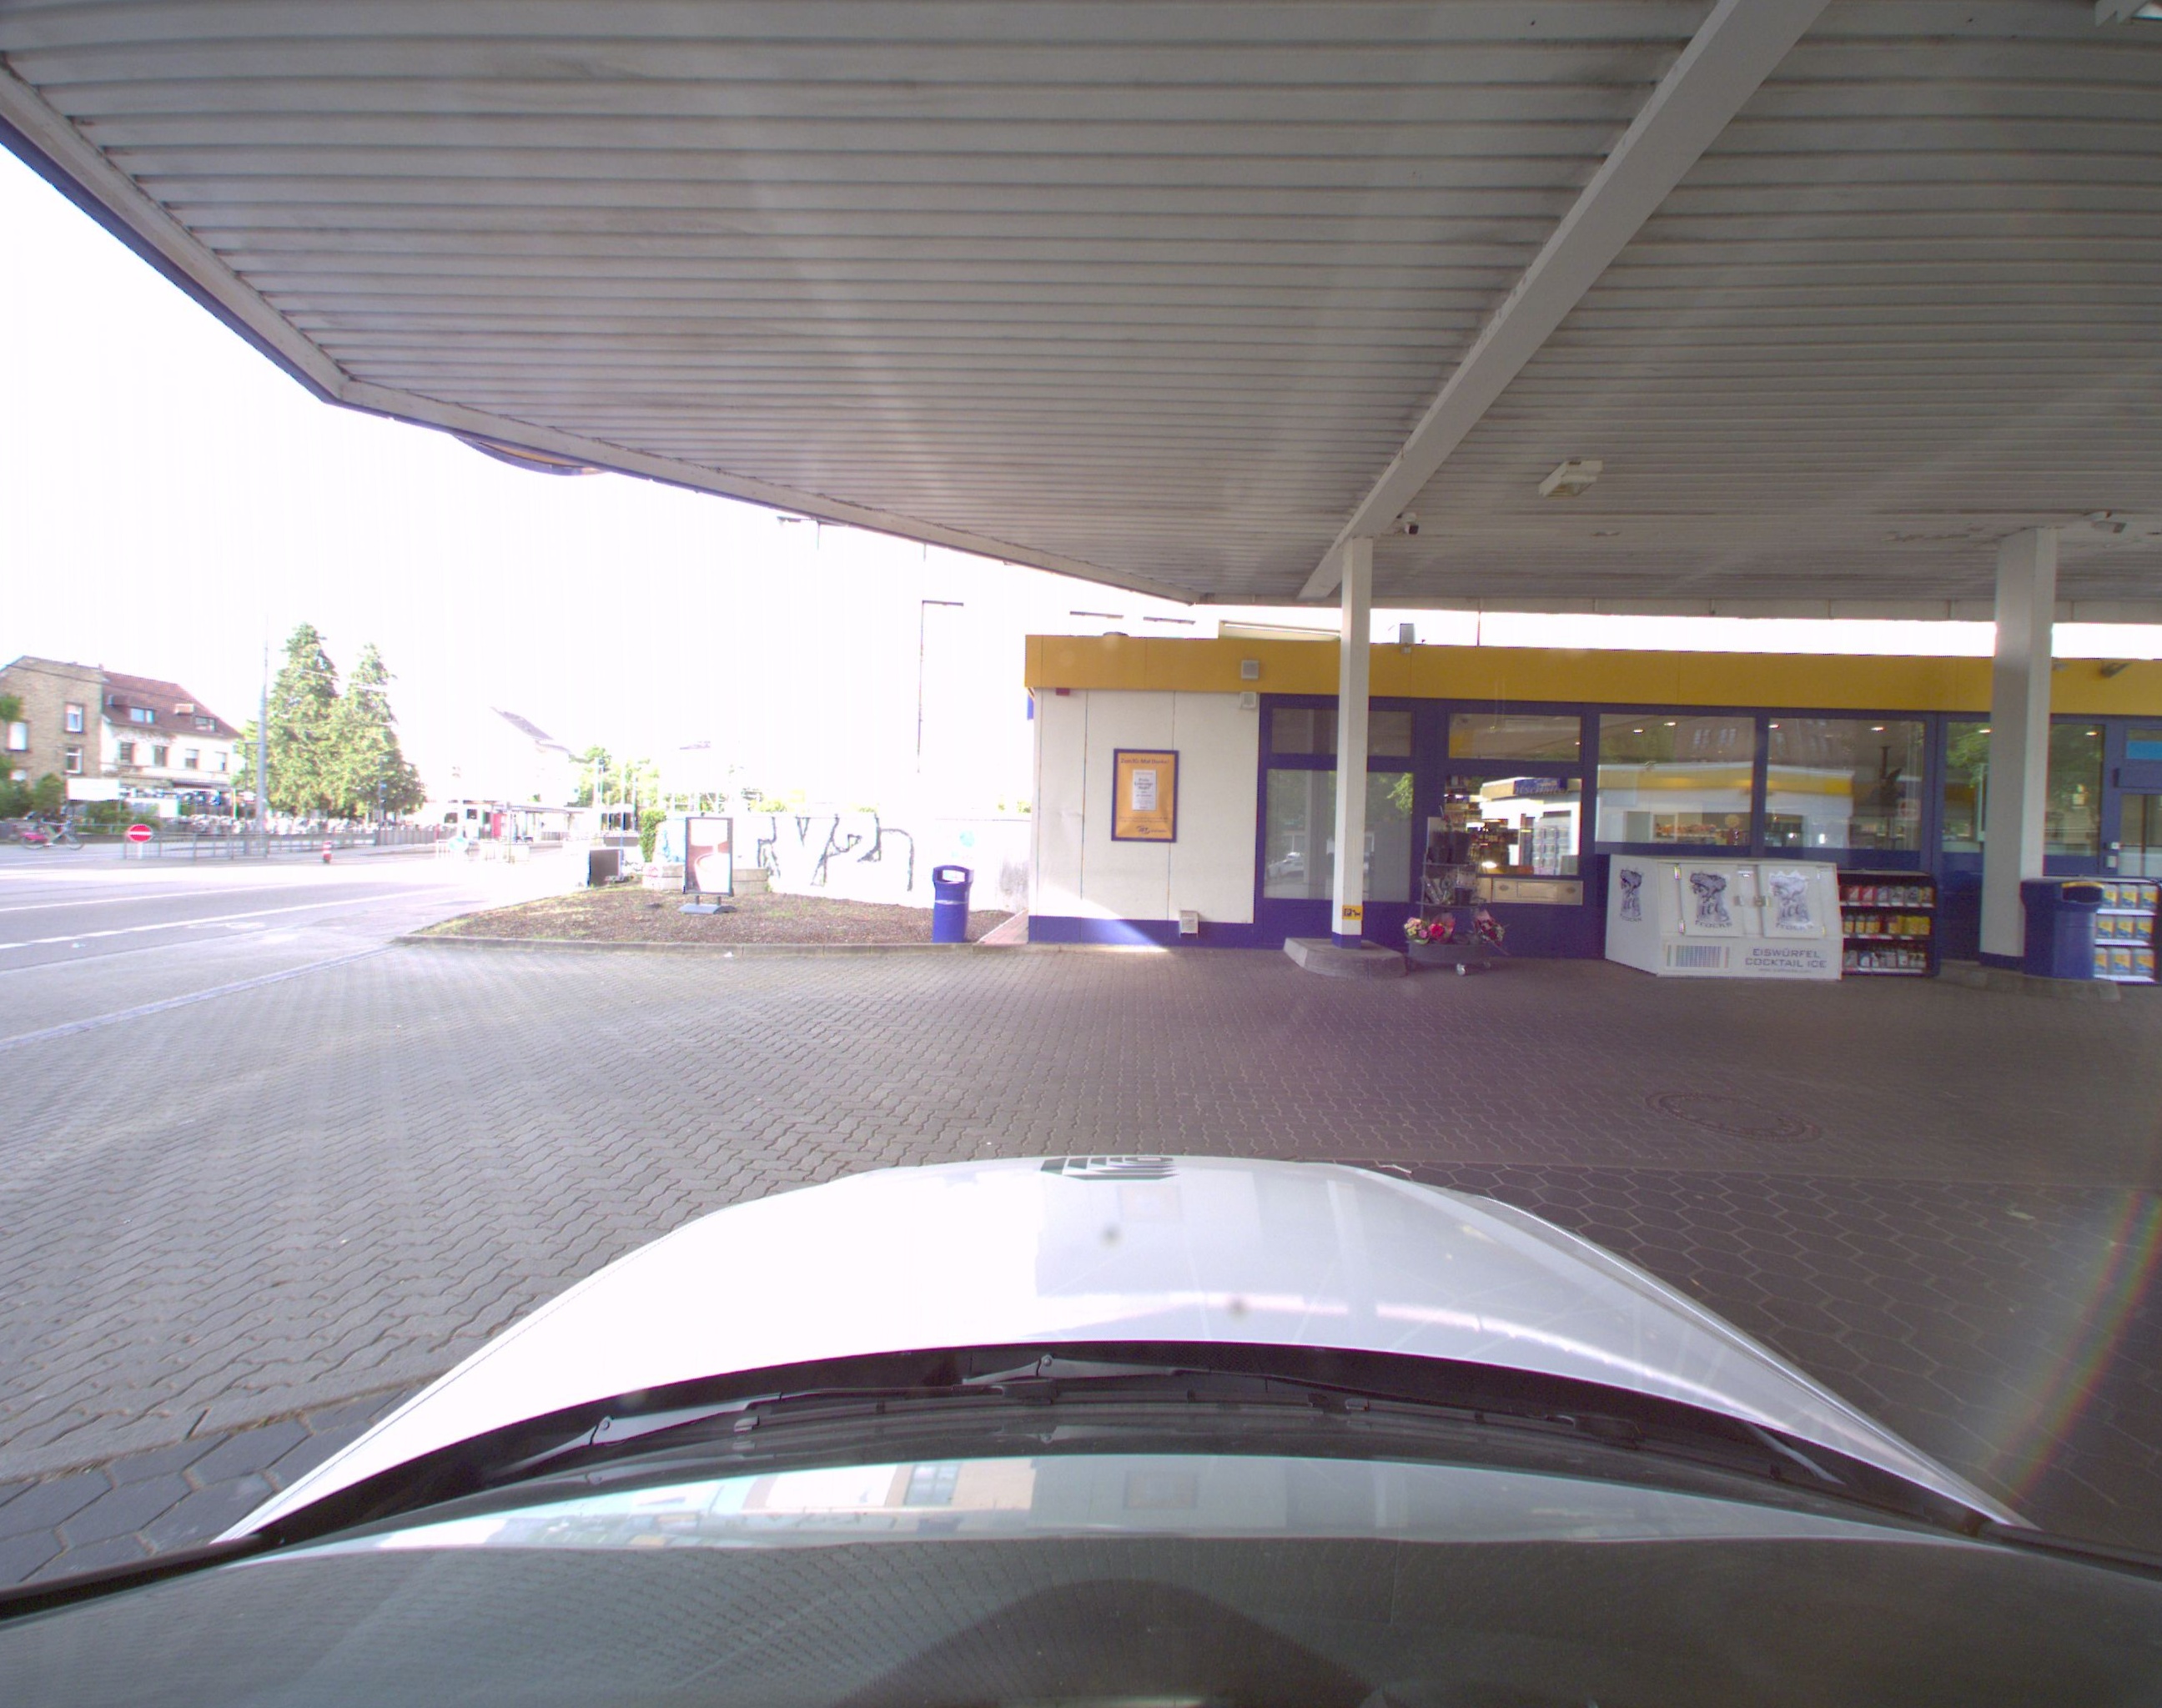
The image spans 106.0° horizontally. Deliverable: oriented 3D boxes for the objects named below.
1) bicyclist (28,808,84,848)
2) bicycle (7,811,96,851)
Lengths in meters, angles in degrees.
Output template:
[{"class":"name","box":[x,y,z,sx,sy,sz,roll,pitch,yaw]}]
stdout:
[{"class":"bicyclist","box":[-41.204,-1.032,32.757,0.781,1.492,1.099,4,0,11]},{"class":"bicycle","box":[-41.234,-0.899,32.647,0.781,1.492,1.998,4,0,12]}]
